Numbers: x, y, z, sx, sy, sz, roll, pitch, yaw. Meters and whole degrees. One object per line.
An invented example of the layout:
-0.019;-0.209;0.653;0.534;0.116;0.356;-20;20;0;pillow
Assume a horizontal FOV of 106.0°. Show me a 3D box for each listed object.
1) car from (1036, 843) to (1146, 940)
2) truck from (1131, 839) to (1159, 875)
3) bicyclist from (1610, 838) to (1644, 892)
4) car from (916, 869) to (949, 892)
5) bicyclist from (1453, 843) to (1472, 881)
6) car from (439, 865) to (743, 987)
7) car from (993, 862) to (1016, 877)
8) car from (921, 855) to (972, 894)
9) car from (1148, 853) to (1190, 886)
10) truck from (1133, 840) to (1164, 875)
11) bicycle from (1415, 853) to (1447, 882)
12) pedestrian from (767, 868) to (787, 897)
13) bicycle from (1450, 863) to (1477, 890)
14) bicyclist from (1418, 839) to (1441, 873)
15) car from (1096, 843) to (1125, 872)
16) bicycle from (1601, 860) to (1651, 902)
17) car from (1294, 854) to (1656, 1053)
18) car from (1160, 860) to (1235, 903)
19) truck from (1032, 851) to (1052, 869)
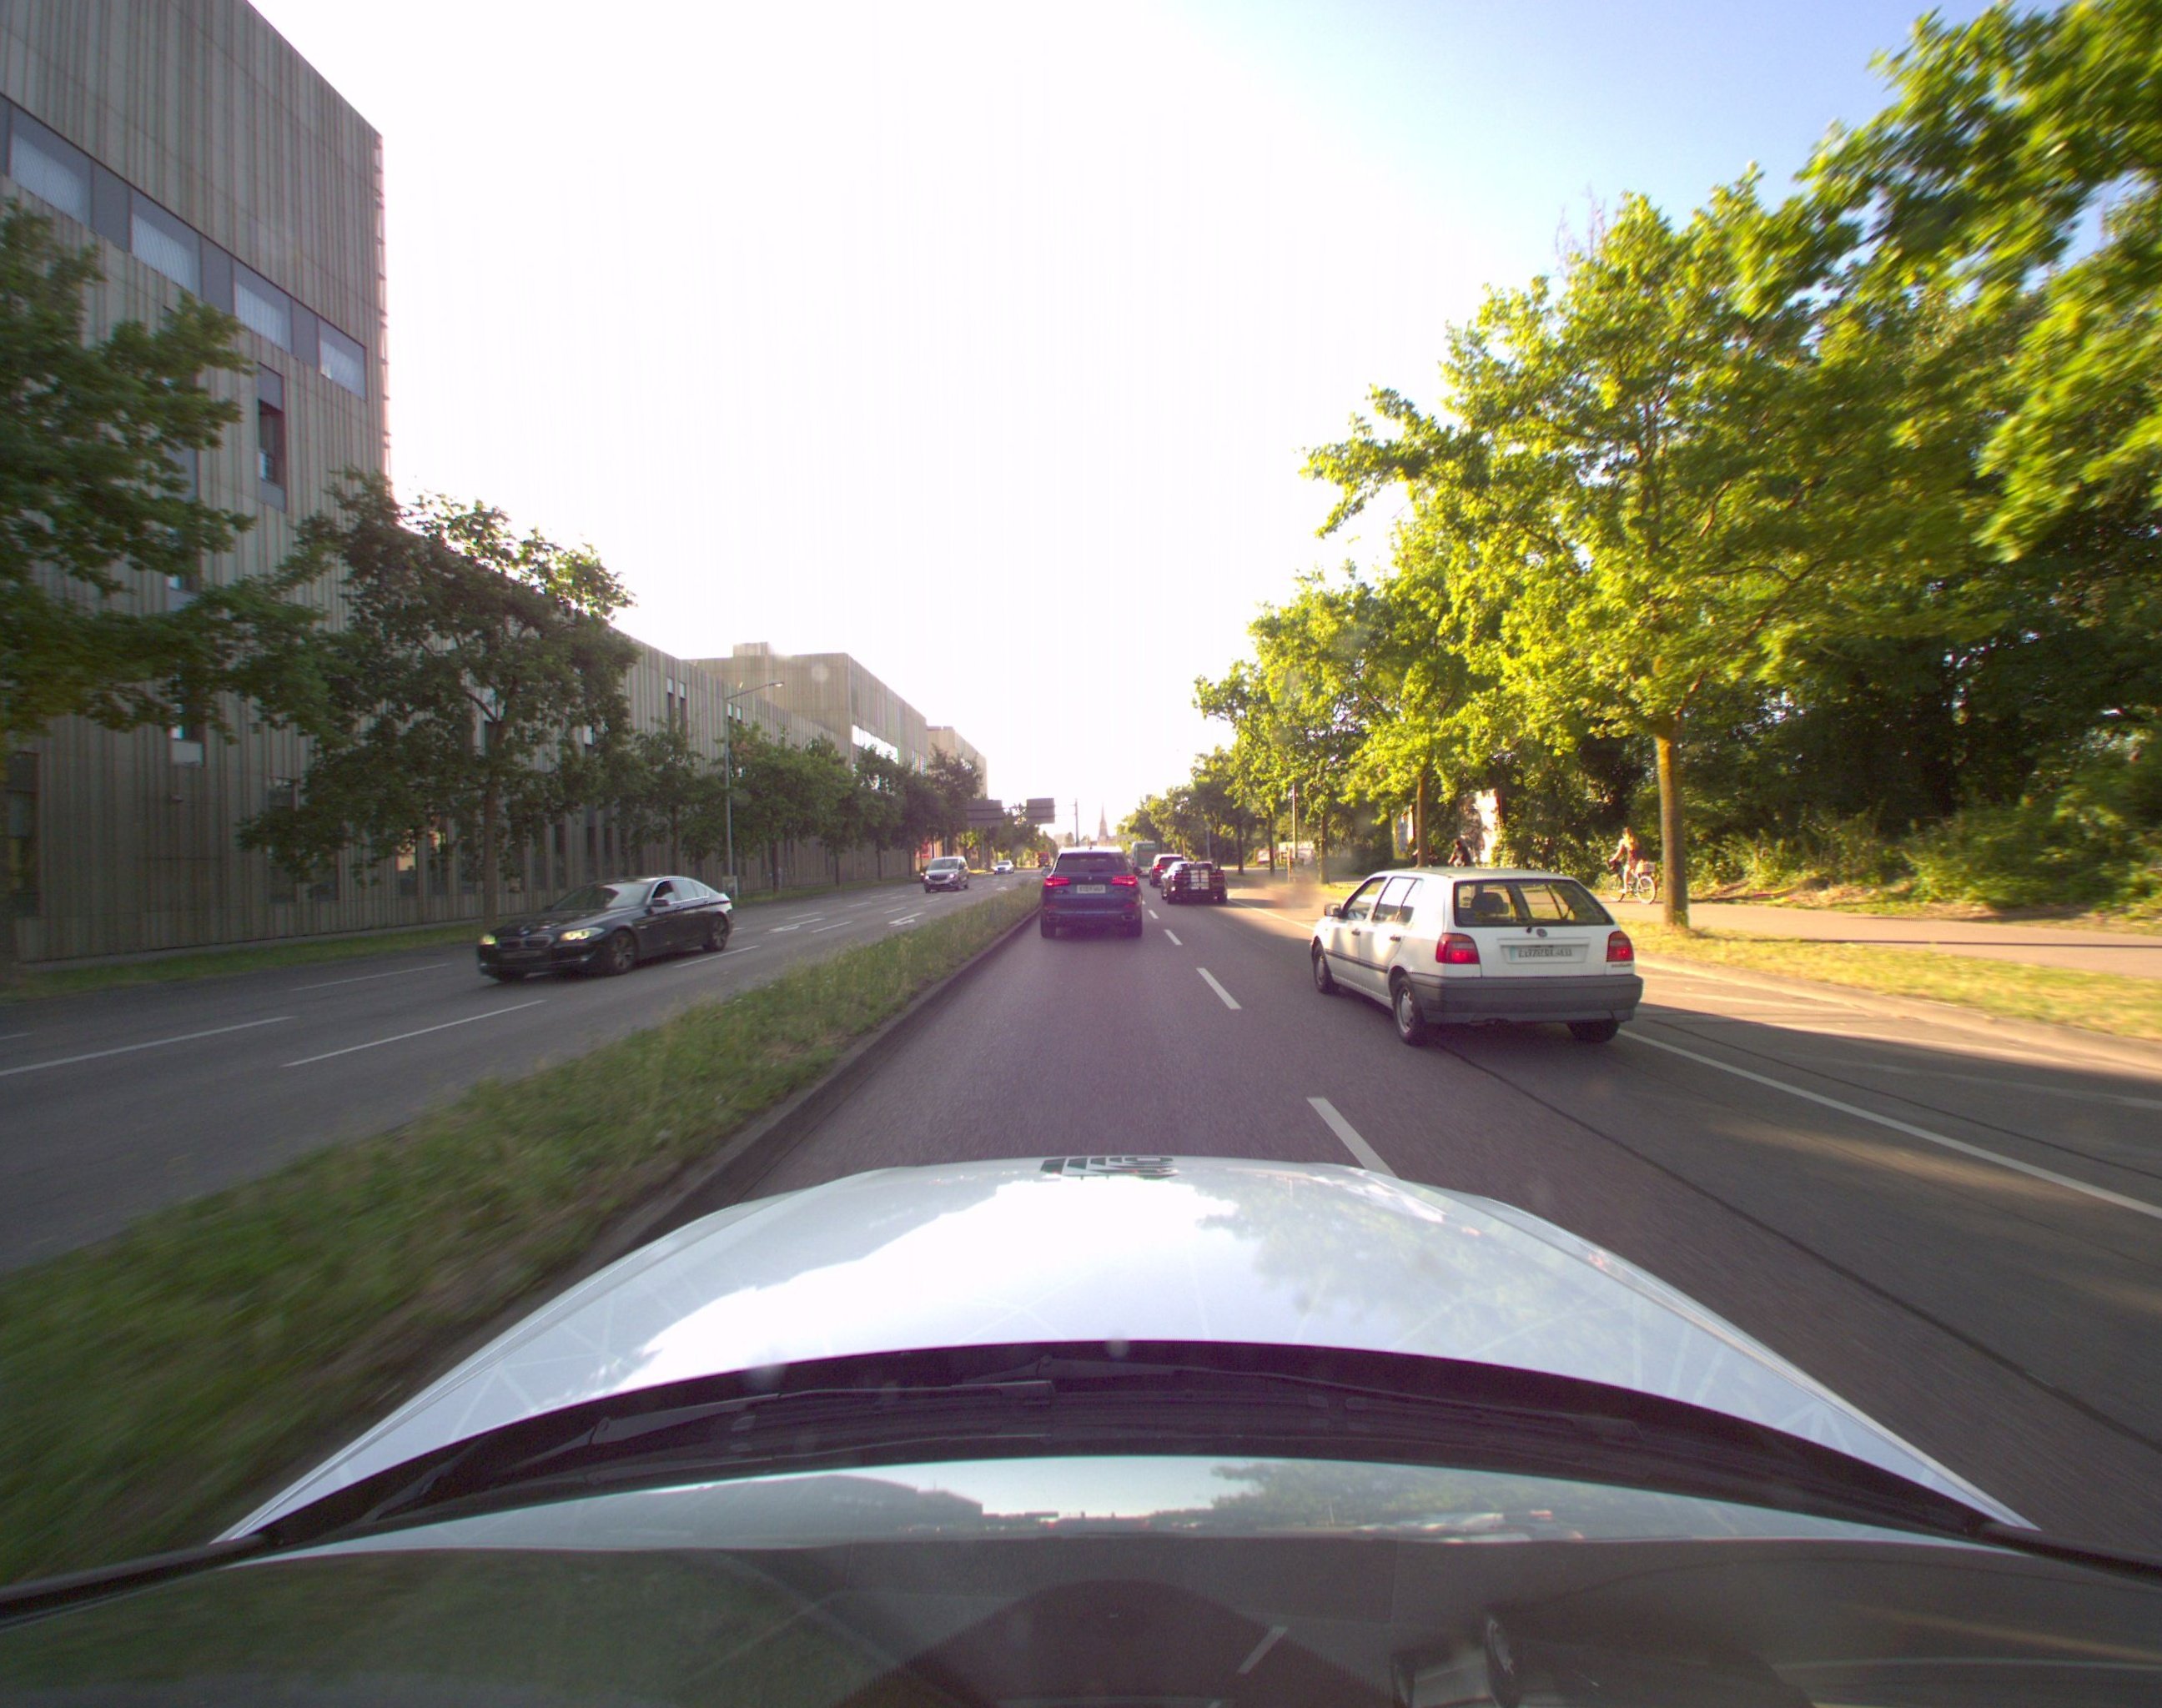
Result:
0.243;0.732;17.048;1.986;1.734;4.534;0;-1;2;car
4.874;0.277;62.394;1.989;2.669;4.001;0;-1;2;truck
12.638;0.258;18.865;0.426;1.233;0.460;-2;-2;1;bicyclist
-12.321;2.212;68.026;1.751;1.705;4.493;-5;-1;0;car
13.071;0.275;27.937;0.426;1.309;0.460;0;-2;1;bicyclist
-7.658;1.030;13.464;1.987;1.452;4.797;-6;-1;0;car
-8.554;1.734;91.061;1.987;1.452;4.714;-5;-1;0;car
-7.057;1.069;43.127;1.751;1.777;4.493;-5;-1;0;car
4.318;0.764;40.556;1.789;1.559;4.001;0;-1;2;car
4.718;0.289;57.572;1.989;2.315;4.001;0;-1;2;truck
13.632;0.541;31.742;0.562;1.112;1.622;0;-1;2;bicycle
-21.489;2.000;57.507;1.015;2.014;0.962;0;-2;1;pedestrian
13.069;0.771;27.856;0.436;0.914;1.027;0;-2;2;bicycle
13.629;0.080;31.829;0.541;1.316;0.835;0;-2;1;bicyclist
2.618;0.364;73.734;2.132;2.576;5.080;0;-1;-3;car
12.638;0.623;18.912;0.436;0.914;1.027;-3;-2;2;bicycle
3.366;0.761;7.893;1.573;1.413;4.062;0;-1;1;car
3.716;0.888;26.700;1.986;1.295;4.001;0;-1;2;car
-9.076;1.462;189.289;3.975;4.088;11.447;0;-1;1;truck
